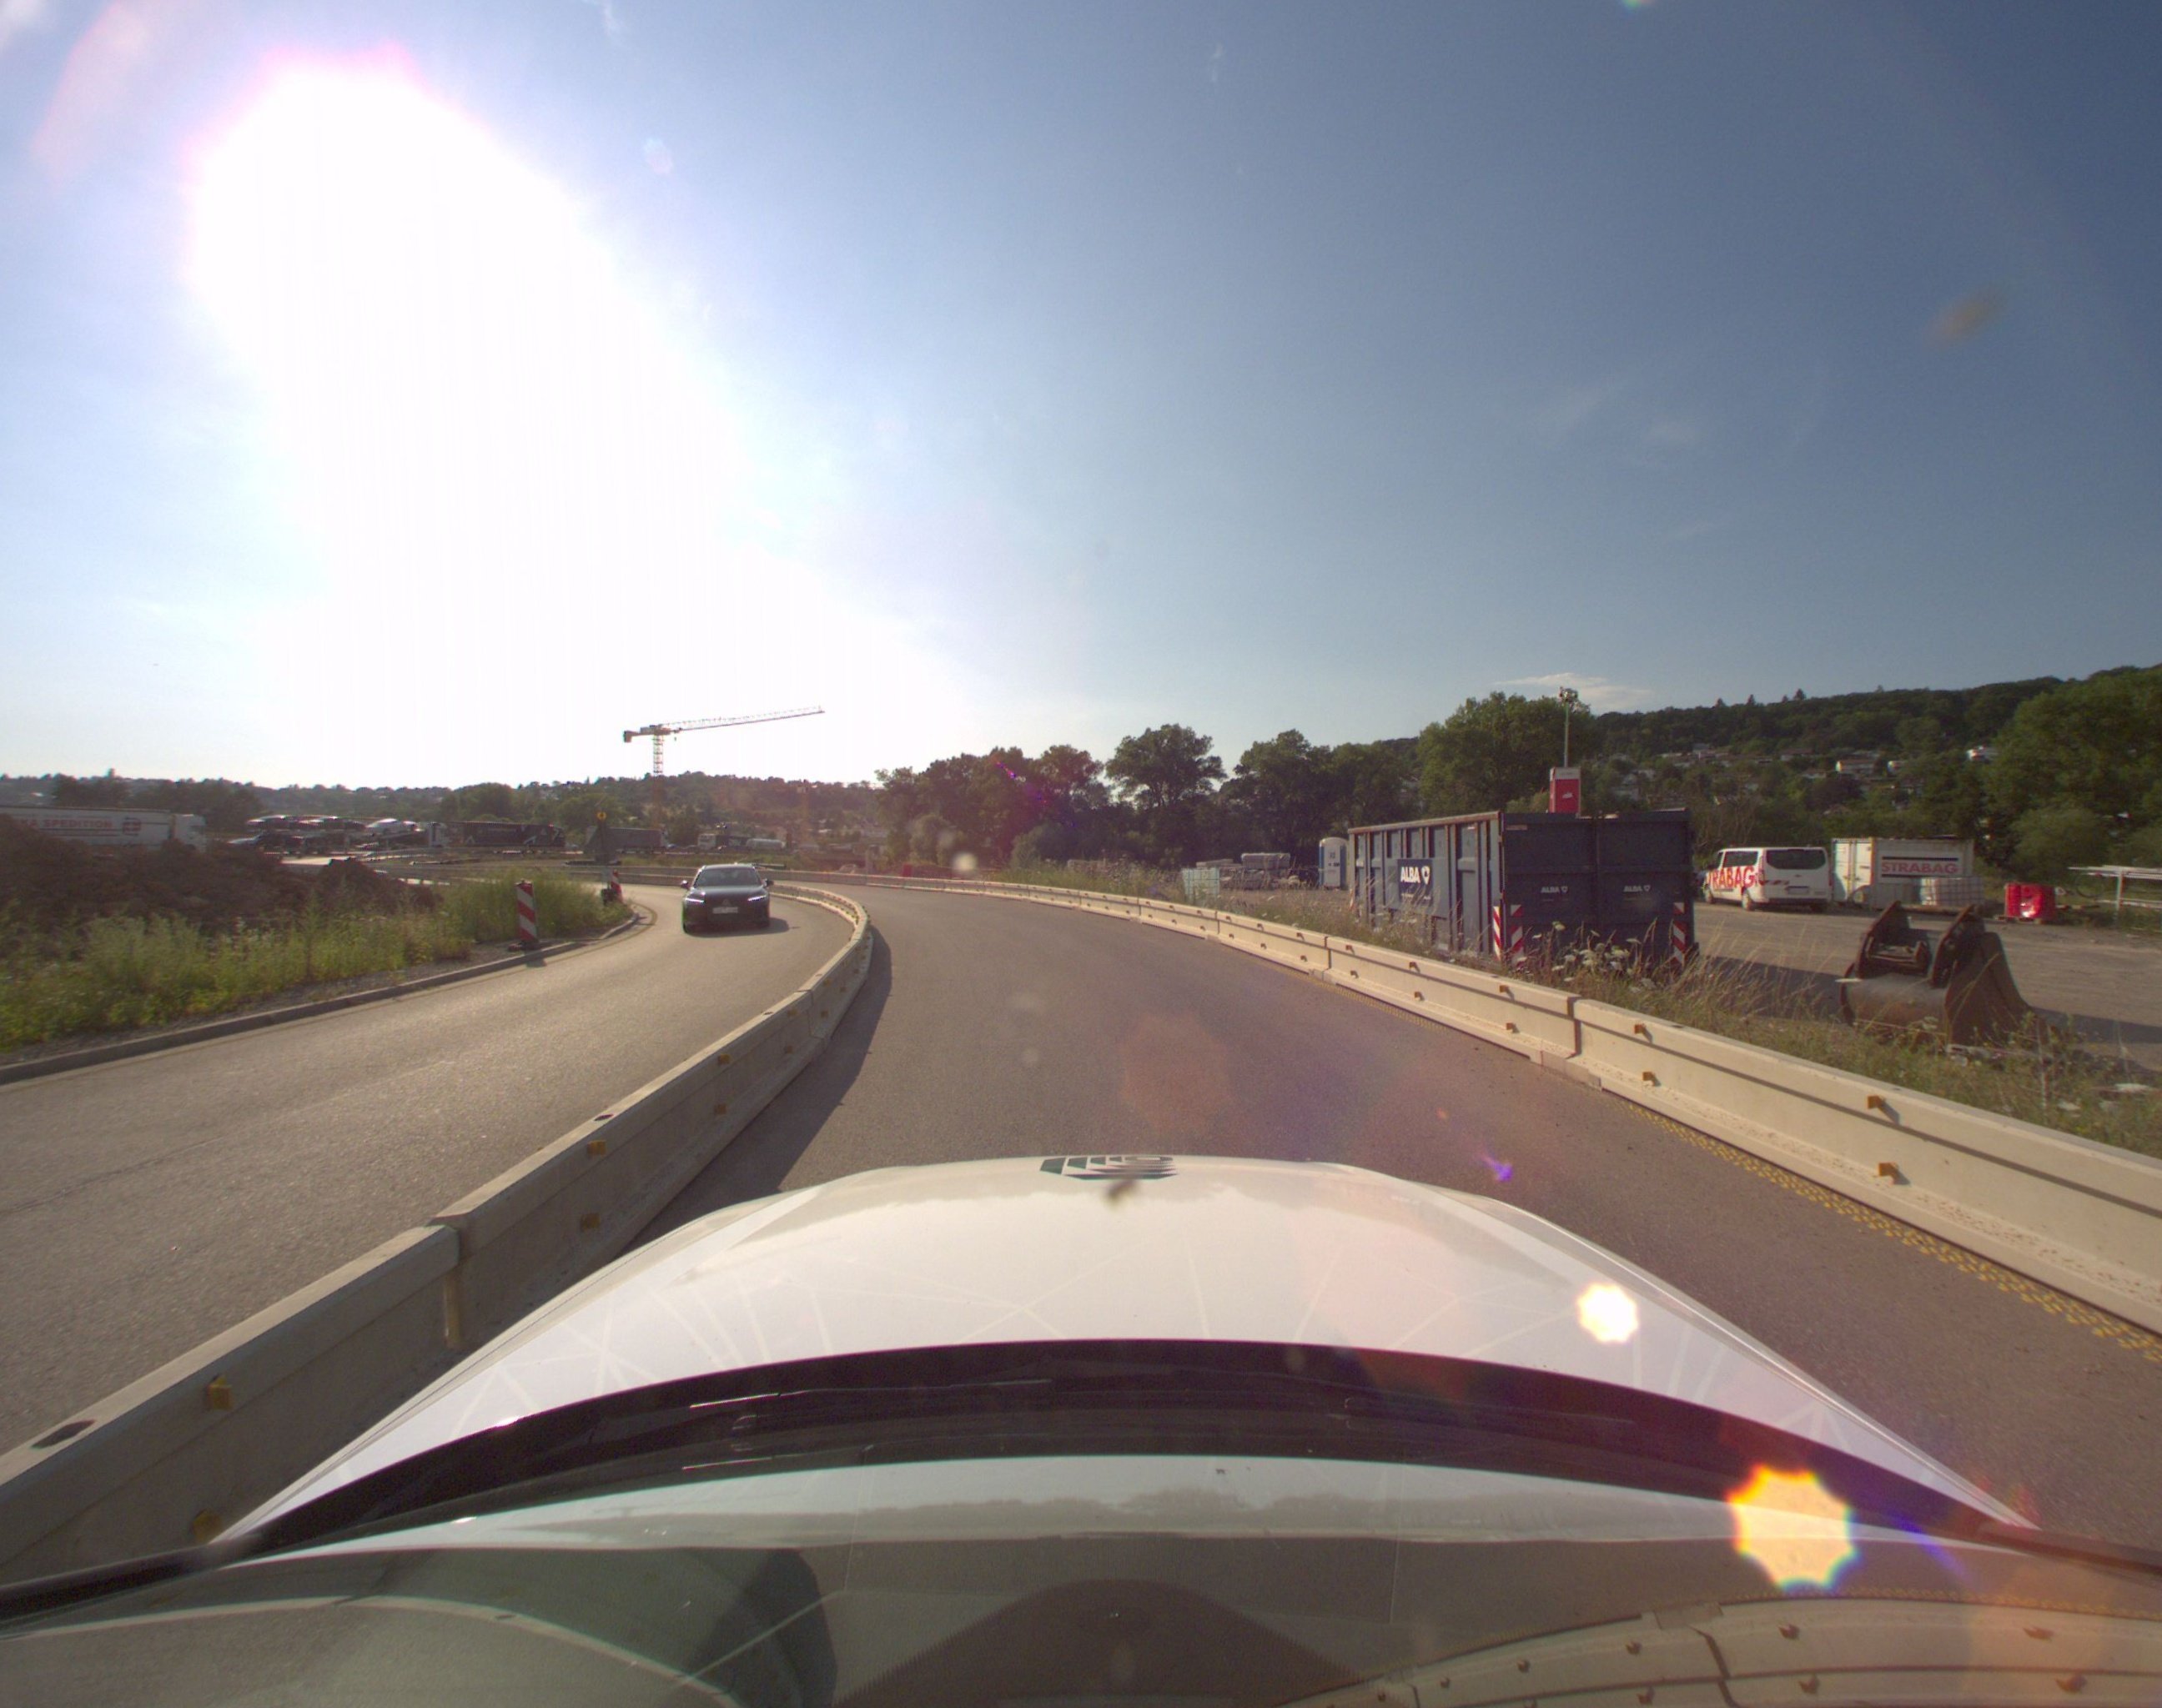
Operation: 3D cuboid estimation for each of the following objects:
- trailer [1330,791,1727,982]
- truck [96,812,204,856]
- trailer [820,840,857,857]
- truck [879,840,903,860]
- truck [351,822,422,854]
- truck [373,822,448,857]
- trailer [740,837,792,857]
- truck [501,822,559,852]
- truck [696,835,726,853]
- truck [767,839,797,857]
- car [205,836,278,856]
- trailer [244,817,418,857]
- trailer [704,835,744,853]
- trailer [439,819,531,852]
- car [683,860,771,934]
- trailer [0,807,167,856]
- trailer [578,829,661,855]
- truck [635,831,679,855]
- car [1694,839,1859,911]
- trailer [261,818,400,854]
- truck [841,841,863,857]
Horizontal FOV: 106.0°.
[{"bbox_3d":[6.870,0.442,14.100,2.993,2.414,7.229,1,0,1],"label":"trailer"},{"bbox_3d":[-85.367,-1.760,74.859,2.466,3.878,6.026,1,0,9],"label":"truck"},{"bbox_3d":[-62.774,-1.314,211.461,3.085,4.314,14.288,1,0,9],"label":"trailer"},{"bbox_3d":[-56.747,-1.124,243.597,3.144,5.871,10.705,0,-1,10],"label":"truck"},{"bbox_3d":[-90.476,-2.065,106.277,2.831,3.996,6.641,1,0,9],"label":"truck"},{"bbox_3d":[-81.468,-1.678,99.114,2.831,3.996,6.641,1,0,9],"label":"truck"},{"bbox_3d":[-68.409,-1.425,177.415,3.365,3.996,14.782,1,0,9],"label":"trailer"},{"bbox_3d":[-78.482,-2.329,116.118,2.867,3.996,6.643,1,0,10],"label":"truck"},{"bbox_3d":[-78.157,-2.111,171.977,2.978,3.727,5.703,0,-1,10],"label":"truck"},{"bbox_3d":[-67.386,-1.385,183.779,3.370,3.996,6.641,1,0,9],"label":"truck"},{"bbox_3d":[-88.010,-0.804,85.480,2.016,1.981,4.993,3,0,10],"label":"car"},{"bbox_3d":[-82.797,-1.692,90.781,2.840,3.996,15.786,1,0,9],"label":"trailer"},{"bbox_3d":[-77.346,-2.054,176.697,2.988,3.752,9.597,0,0,10],"label":"trailer"},{"bbox_3d":[-79.726,-2.344,109.262,2.940,4.092,10.824,0,0,10],"label":"trailer"},{"bbox_3d":[-8.585,0.960,19.613,1.719,1.519,4.477,-1,-1,-26],"label":"car"},{"bbox_3d":[-86.367,-1.813,68.313,2.466,3.878,13.664,1,0,9],"label":"trailer"},{"bbox_3d":[-75.646,-1.860,134.152,3.365,3.996,14.782,1,0,9],"label":"trailer"},{"bbox_3d":[-74.274,-1.812,142.740,3.323,3.996,6.641,1,0,9],"label":"truck"},{"bbox_3d":[22.239,0.638,26.397,2.458,2.079,5.347,0,-1,21],"label":"car"},{"bbox_3d":[-91.556,-2.098,99.939,2.840,3.996,13.510,1,0,9],"label":"trailer"},{"bbox_3d":[-61.561,-1.277,218.955,3.079,4.285,6.641,1,0,9],"label":"truck"}]
